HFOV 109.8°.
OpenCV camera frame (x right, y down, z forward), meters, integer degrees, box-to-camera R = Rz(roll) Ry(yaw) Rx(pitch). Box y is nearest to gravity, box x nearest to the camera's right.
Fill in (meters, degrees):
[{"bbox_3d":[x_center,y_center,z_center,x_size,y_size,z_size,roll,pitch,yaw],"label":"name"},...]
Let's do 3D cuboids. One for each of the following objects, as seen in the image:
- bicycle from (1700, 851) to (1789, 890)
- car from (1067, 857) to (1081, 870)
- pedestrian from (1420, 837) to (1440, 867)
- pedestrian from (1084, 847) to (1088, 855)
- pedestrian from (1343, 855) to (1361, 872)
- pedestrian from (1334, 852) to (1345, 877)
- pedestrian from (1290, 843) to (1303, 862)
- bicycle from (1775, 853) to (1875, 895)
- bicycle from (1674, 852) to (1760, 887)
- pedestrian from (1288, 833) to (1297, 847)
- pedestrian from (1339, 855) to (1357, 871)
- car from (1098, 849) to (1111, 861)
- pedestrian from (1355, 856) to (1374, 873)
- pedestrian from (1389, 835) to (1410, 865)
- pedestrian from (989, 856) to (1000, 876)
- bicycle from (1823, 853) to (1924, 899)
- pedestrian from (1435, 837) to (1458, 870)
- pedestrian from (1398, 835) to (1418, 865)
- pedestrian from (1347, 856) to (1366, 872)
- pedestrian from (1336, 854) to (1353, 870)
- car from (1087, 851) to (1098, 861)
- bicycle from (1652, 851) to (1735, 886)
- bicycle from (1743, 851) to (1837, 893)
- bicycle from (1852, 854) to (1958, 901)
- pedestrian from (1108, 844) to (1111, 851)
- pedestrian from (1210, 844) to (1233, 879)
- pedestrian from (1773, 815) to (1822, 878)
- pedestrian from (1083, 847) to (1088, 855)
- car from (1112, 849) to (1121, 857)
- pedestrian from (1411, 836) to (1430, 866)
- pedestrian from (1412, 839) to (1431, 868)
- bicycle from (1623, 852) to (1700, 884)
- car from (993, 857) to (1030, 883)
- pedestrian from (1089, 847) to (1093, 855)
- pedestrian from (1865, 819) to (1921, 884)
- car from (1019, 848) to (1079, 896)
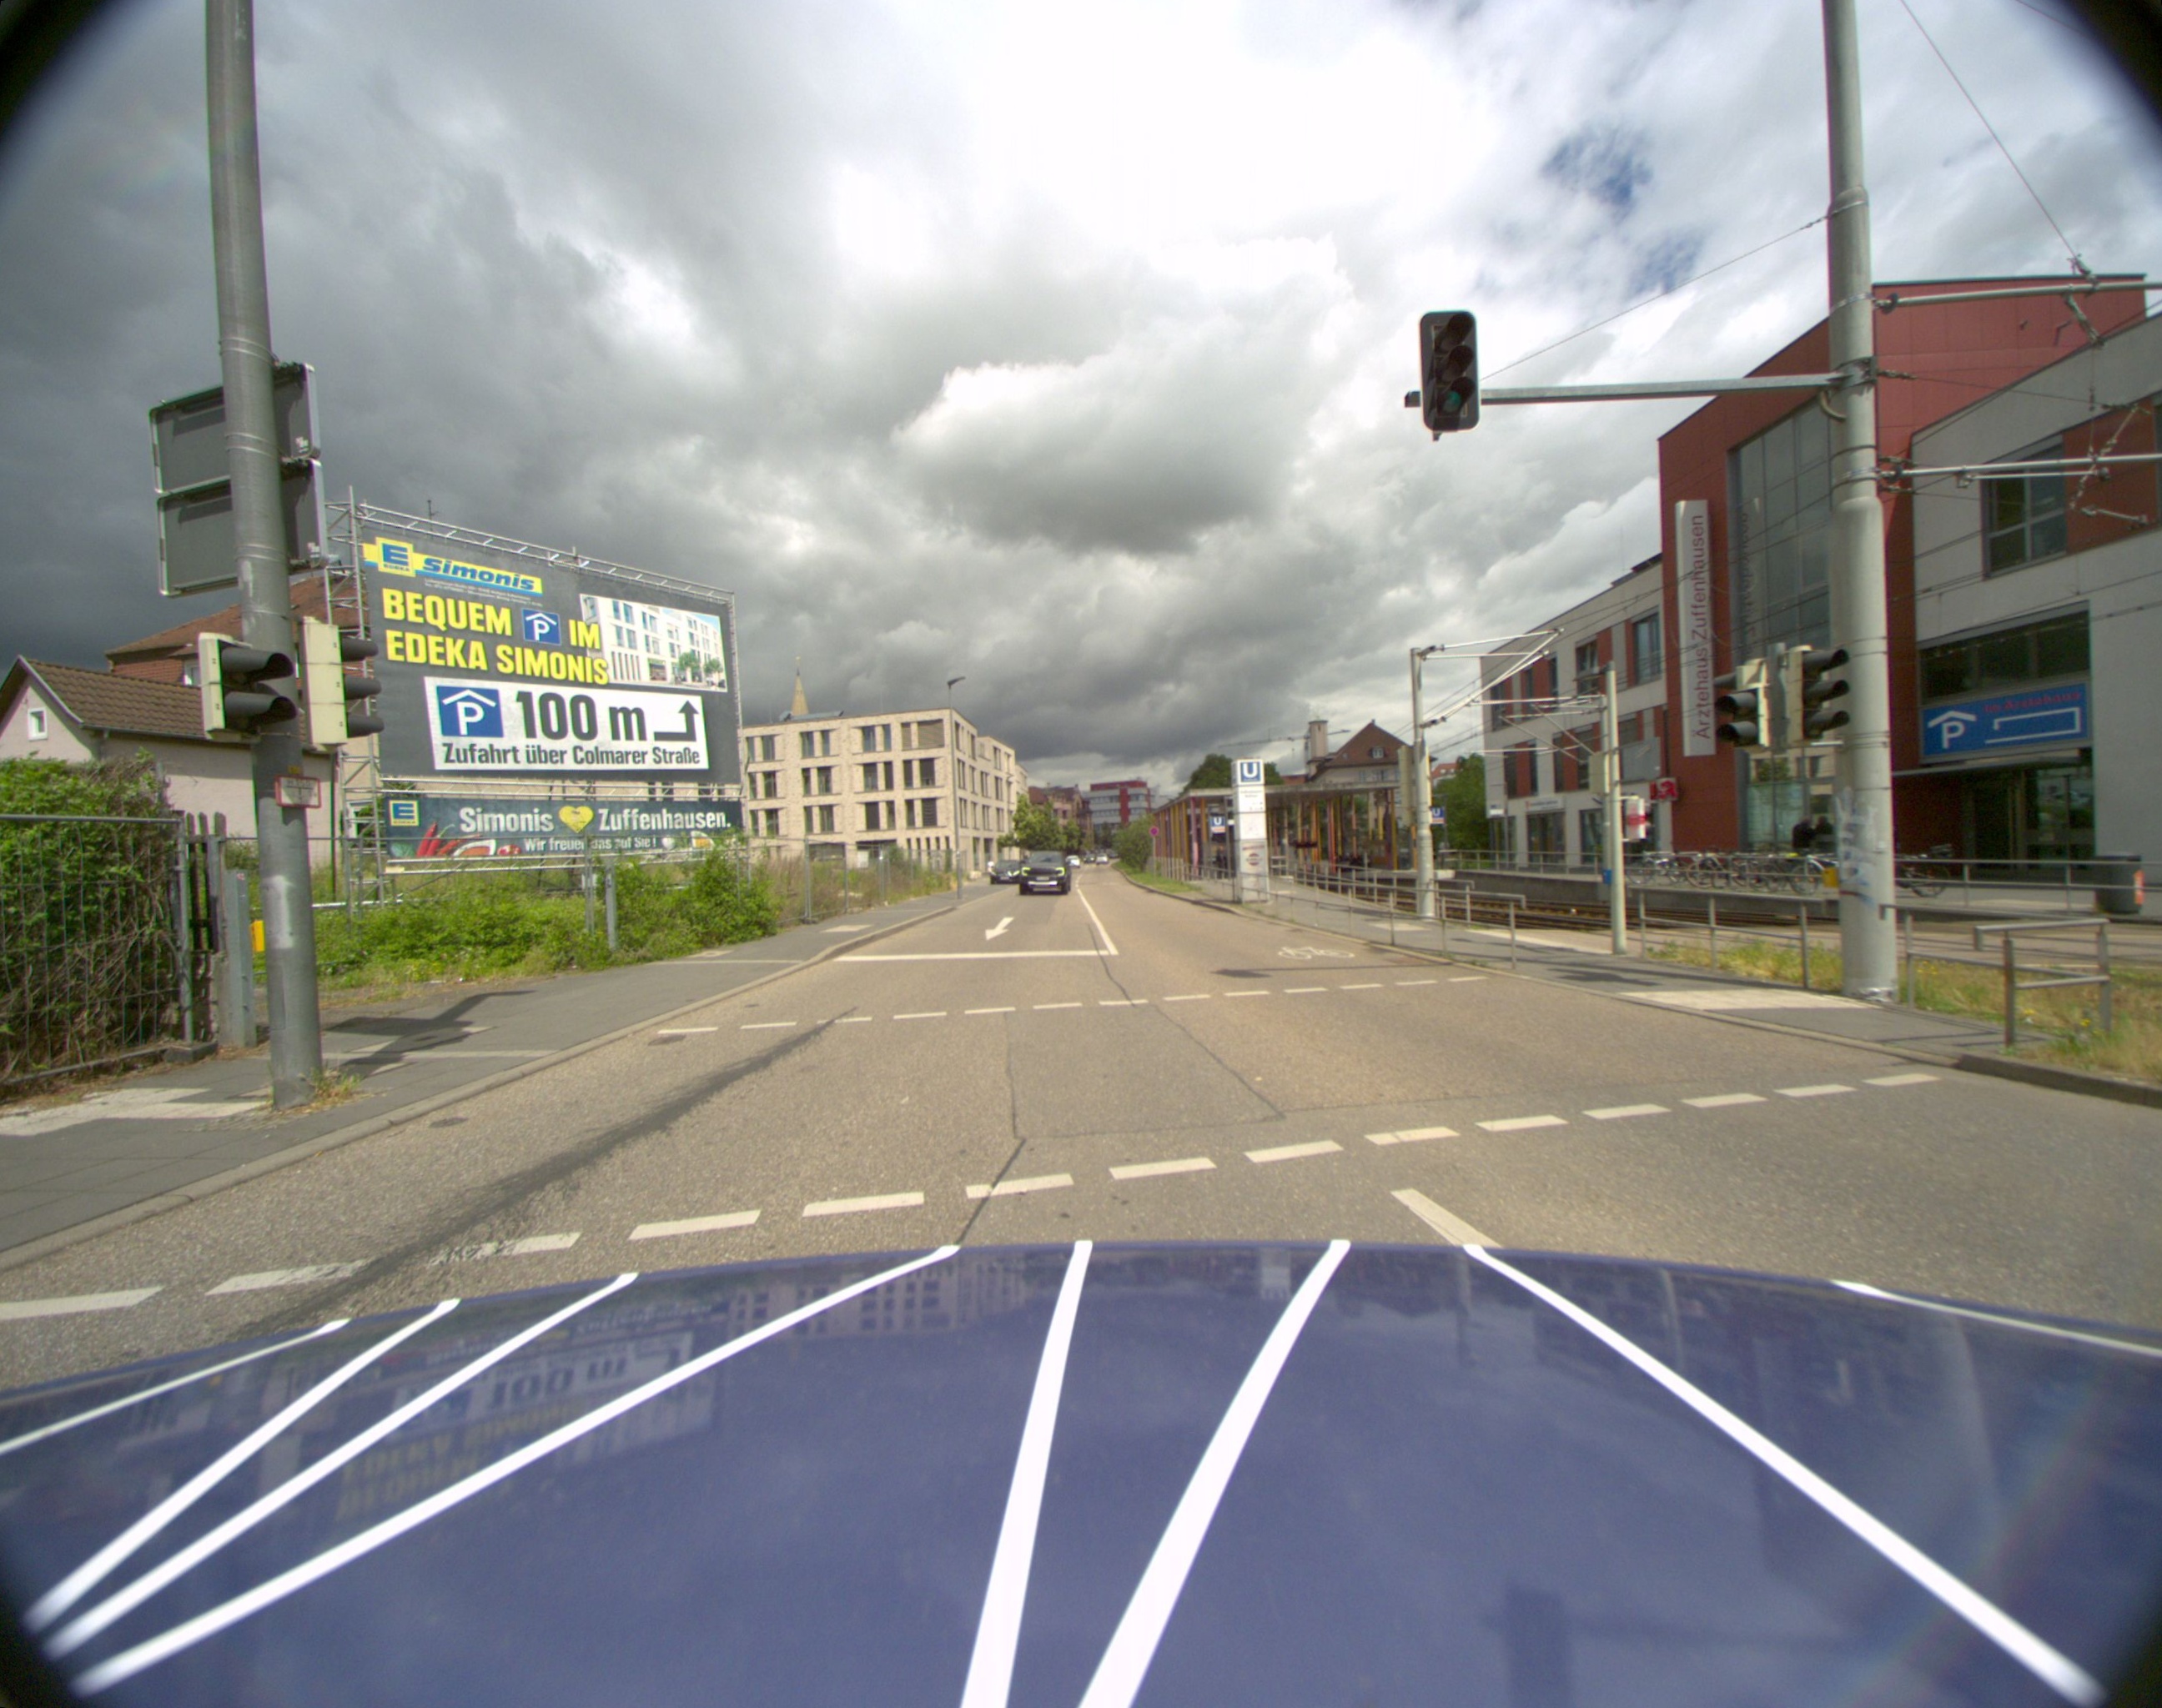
[{"bbox_3d":[17.554,0.433,20.126,1.861,0.934,0.454,-2,1,5],"label":"bicycle"},{"bbox_3d":[-0.844,1.201,94.075,1.719,1.541,3.793,-1,0,1],"label":"car"},{"bbox_3d":[23.372,-0.164,50.886,0.863,1.957,1.106,-1,2,6],"label":"pedestrian"},{"bbox_3d":[1.017,-0.573,145.816,0.673,1.503,0.783,-2,0,3],"label":"pedestrian"},{"bbox_3d":[19.092,0.672,53.602,0.943,1.128,0.886,-2,0,2],"label":"pedestrian"},{"bbox_3d":[21.484,0.874,63.174,0.623,2.002,0.763,-2,0,-6],"label":"pedestrian"},{"bbox_3d":[23.790,-0.172,83.940,1.127,2.002,1.179,-1,0,6],"label":"pedestrian"},{"bbox_3d":[17.650,0.474,18.043,1.862,0.930,0.454,-2,1,3],"label":"bicycle"},{"bbox_3d":[17.571,0.427,21.027,1.861,0.917,0.455,-2,1,8],"label":"bicycle"},{"bbox_3d":[30.695,-1.979,110.132,1.125,2.002,1.661,-1,0,14],"label":"pedestrian"},{"bbox_3d":[19.189,0.652,54.592,0.943,1.128,0.886,-2,0,2],"label":"pedestrian"},{"bbox_3d":[3.248,0.114,106.391,1.588,1.528,3.946,-5,1,1],"label":"car"},{"bbox_3d":[19.272,0.704,51.688,0.943,1.128,0.886,-2,0,2],"label":"pedestrian"},{"bbox_3d":[20.838,-0.282,49.756,0.864,1.957,1.105,-1,2,-1],"label":"pedestrian"},{"bbox_3d":[-6.537,0.889,57.301,0.673,1.503,0.782,-2,0,1],"label":"pedestrian"},{"bbox_3d":[17.717,0.493,17.004,1.739,0.952,0.428,-2,1,3],"label":"bicycle"},{"bbox_3d":[22.093,-0.064,45.953,0.864,1.957,1.106,-1,2,3],"label":"pedestrian"},{"bbox_3d":[21.417,-0.252,49.795,0.864,1.957,1.105,-1,2,-1],"label":"pedestrian"},{"bbox_3d":[19.077,0.690,52.644,0.943,1.128,0.886,-2,0,2],"label":"pedestrian"},{"bbox_3d":[19.312,0.600,55.675,0.943,1.128,0.886,-2,0,2],"label":"pedestrian"},{"bbox_3d":[1.759,0.299,116.546,1.678,1.425,3.794,-2,1,0],"label":"car"},{"bbox_3d":[17.597,0.412,21.856,1.861,0.927,0.455,-2,1,9],"label":"bicycle"},{"bbox_3d":[17.688,0.442,18.975,1.862,0.957,0.454,-2,1,3],"label":"bicycle"},{"bbox_3d":[17.729,0.507,16.371,1.739,0.947,0.428,-2,1,3],"label":"bicycle"},{"bbox_3d":[6.168,-1.365,164.438,0.673,1.503,0.783,-1,0,11],"label":"pedestrian"},{"bbox_3d":[7.708,0.401,41.649,1.105,1.903,0.864,-1,2,2],"label":"pedestrian"},{"bbox_3d":[22.016,-0.236,23.344,0.881,1.835,0.862,-4,3,-27],"label":"pedestrian"},{"bbox_3d":[0.832,-0.555,136.220,0.673,1.503,0.783,-1,0,16],"label":"pedestrian"},{"bbox_3d":[6.414,-0.184,137.308,1.677,1.299,3.794,-1,1,3],"label":"car"},{"bbox_3d":[22.772,-0.187,50.938,0.863,1.957,1.106,-1,2,6],"label":"pedestrian"},{"bbox_3d":[23.656,-0.047,52.815,0.863,1.957,1.106,-1,2,6],"label":"pedestrian"},{"bbox_3d":[17.538,0.426,22.984,1.861,0.876,0.455,-2,1,9],"label":"bicycle"},{"bbox_3d":[-4.150,0.964,46.119,1.677,1.415,3.794,-1,1,3],"label":"car"},{"bbox_3d":[1.863,-0.553,145.734,0.673,1.503,0.783,-2,0,3],"label":"pedestrian"},{"bbox_3d":[21.857,-0.076,20.468,0.933,1.688,0.790,0,2,40],"label":"pedestrian"},{"bbox_3d":[-1.295,0.711,33.240,2.003,1.876,5.151,-1,1,4],"label":"car"}]
